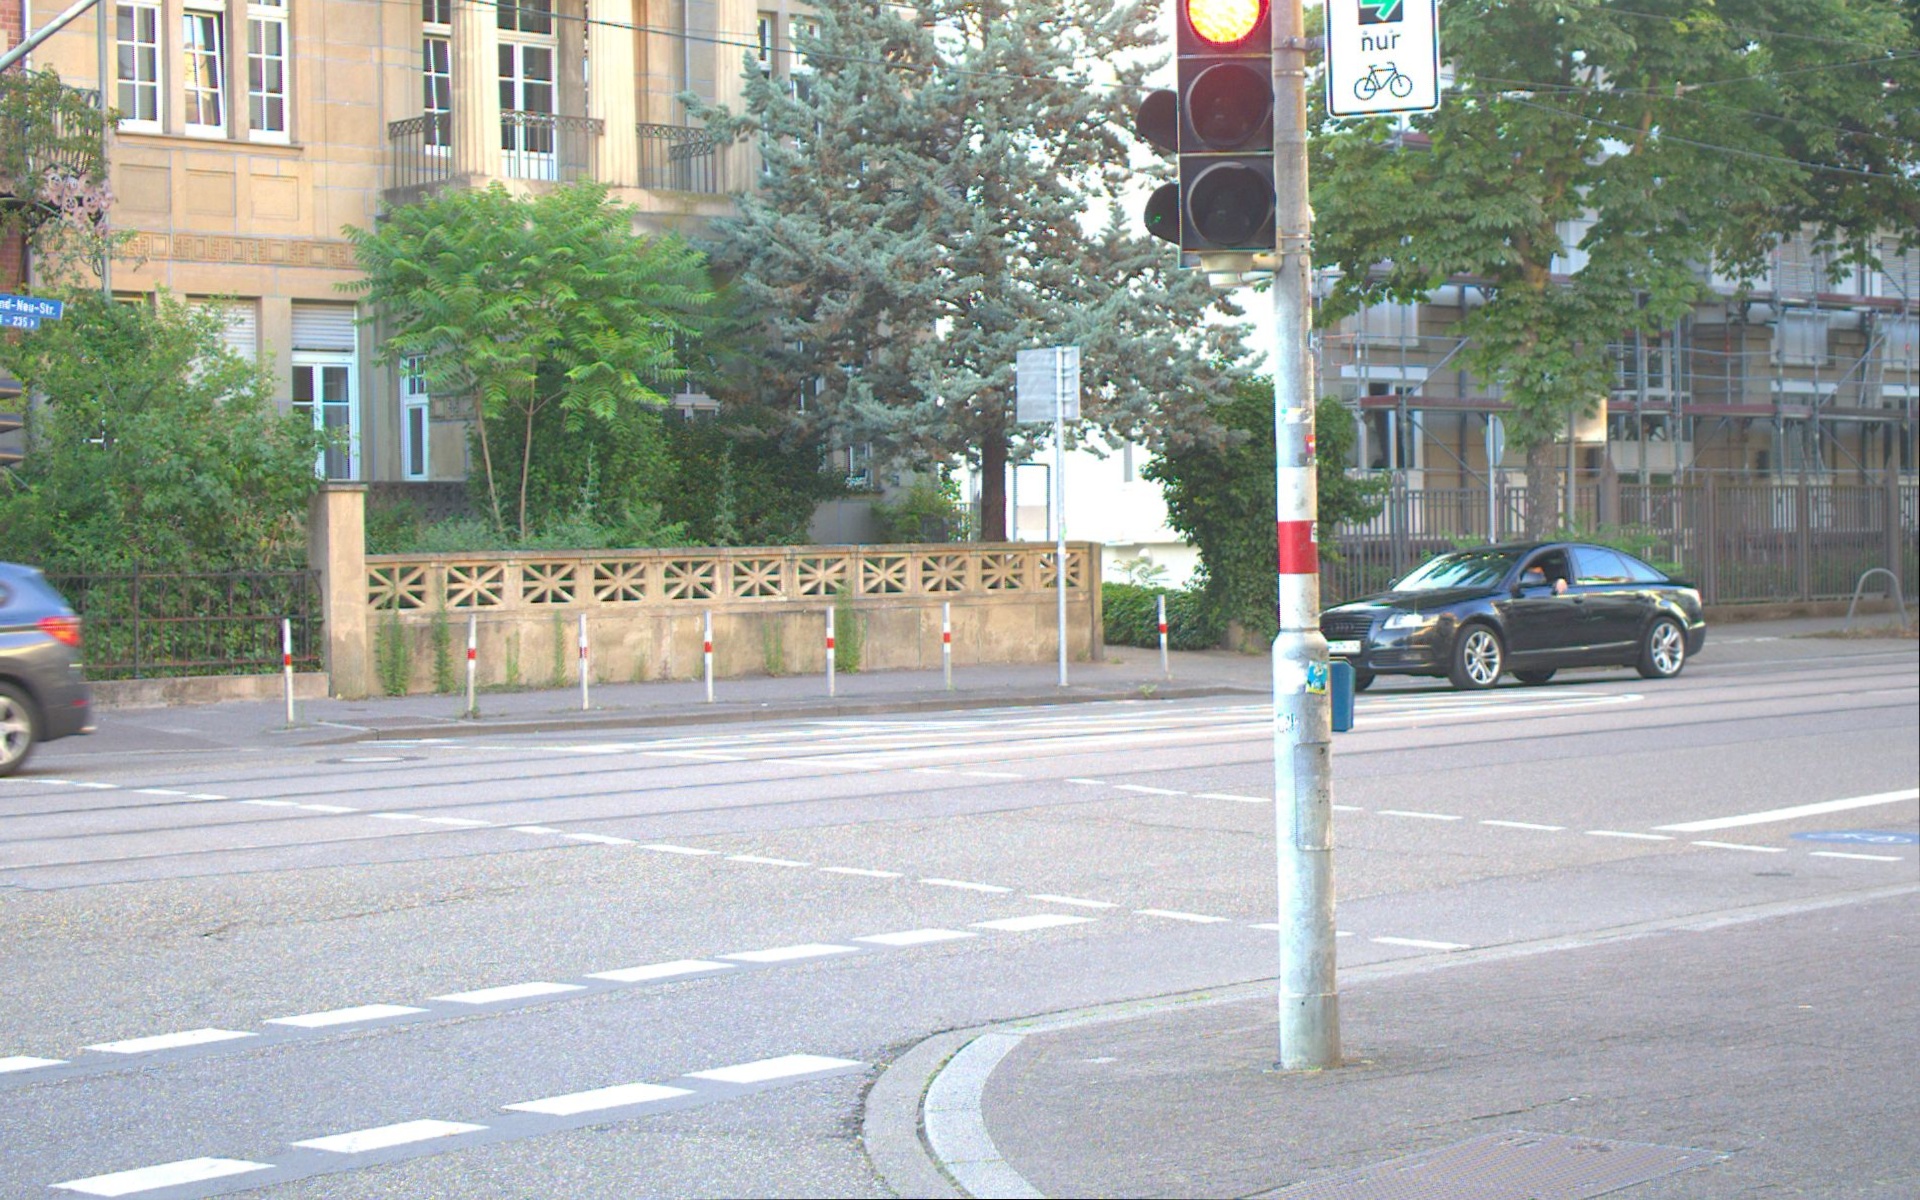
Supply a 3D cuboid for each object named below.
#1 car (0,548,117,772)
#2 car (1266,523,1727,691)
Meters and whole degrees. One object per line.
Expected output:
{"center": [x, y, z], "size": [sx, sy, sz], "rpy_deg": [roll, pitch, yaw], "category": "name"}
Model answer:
{"center": [-8.169, 0.446, 23.137], "size": [4.407, 1.504, 1.950], "rpy_deg": [-2, 1, -39], "category": "car"}
{"center": [5.373, 0.028, 34.081], "size": [4.619, 1.504, 1.949], "rpy_deg": [-2, 1, -40], "category": "car"}
